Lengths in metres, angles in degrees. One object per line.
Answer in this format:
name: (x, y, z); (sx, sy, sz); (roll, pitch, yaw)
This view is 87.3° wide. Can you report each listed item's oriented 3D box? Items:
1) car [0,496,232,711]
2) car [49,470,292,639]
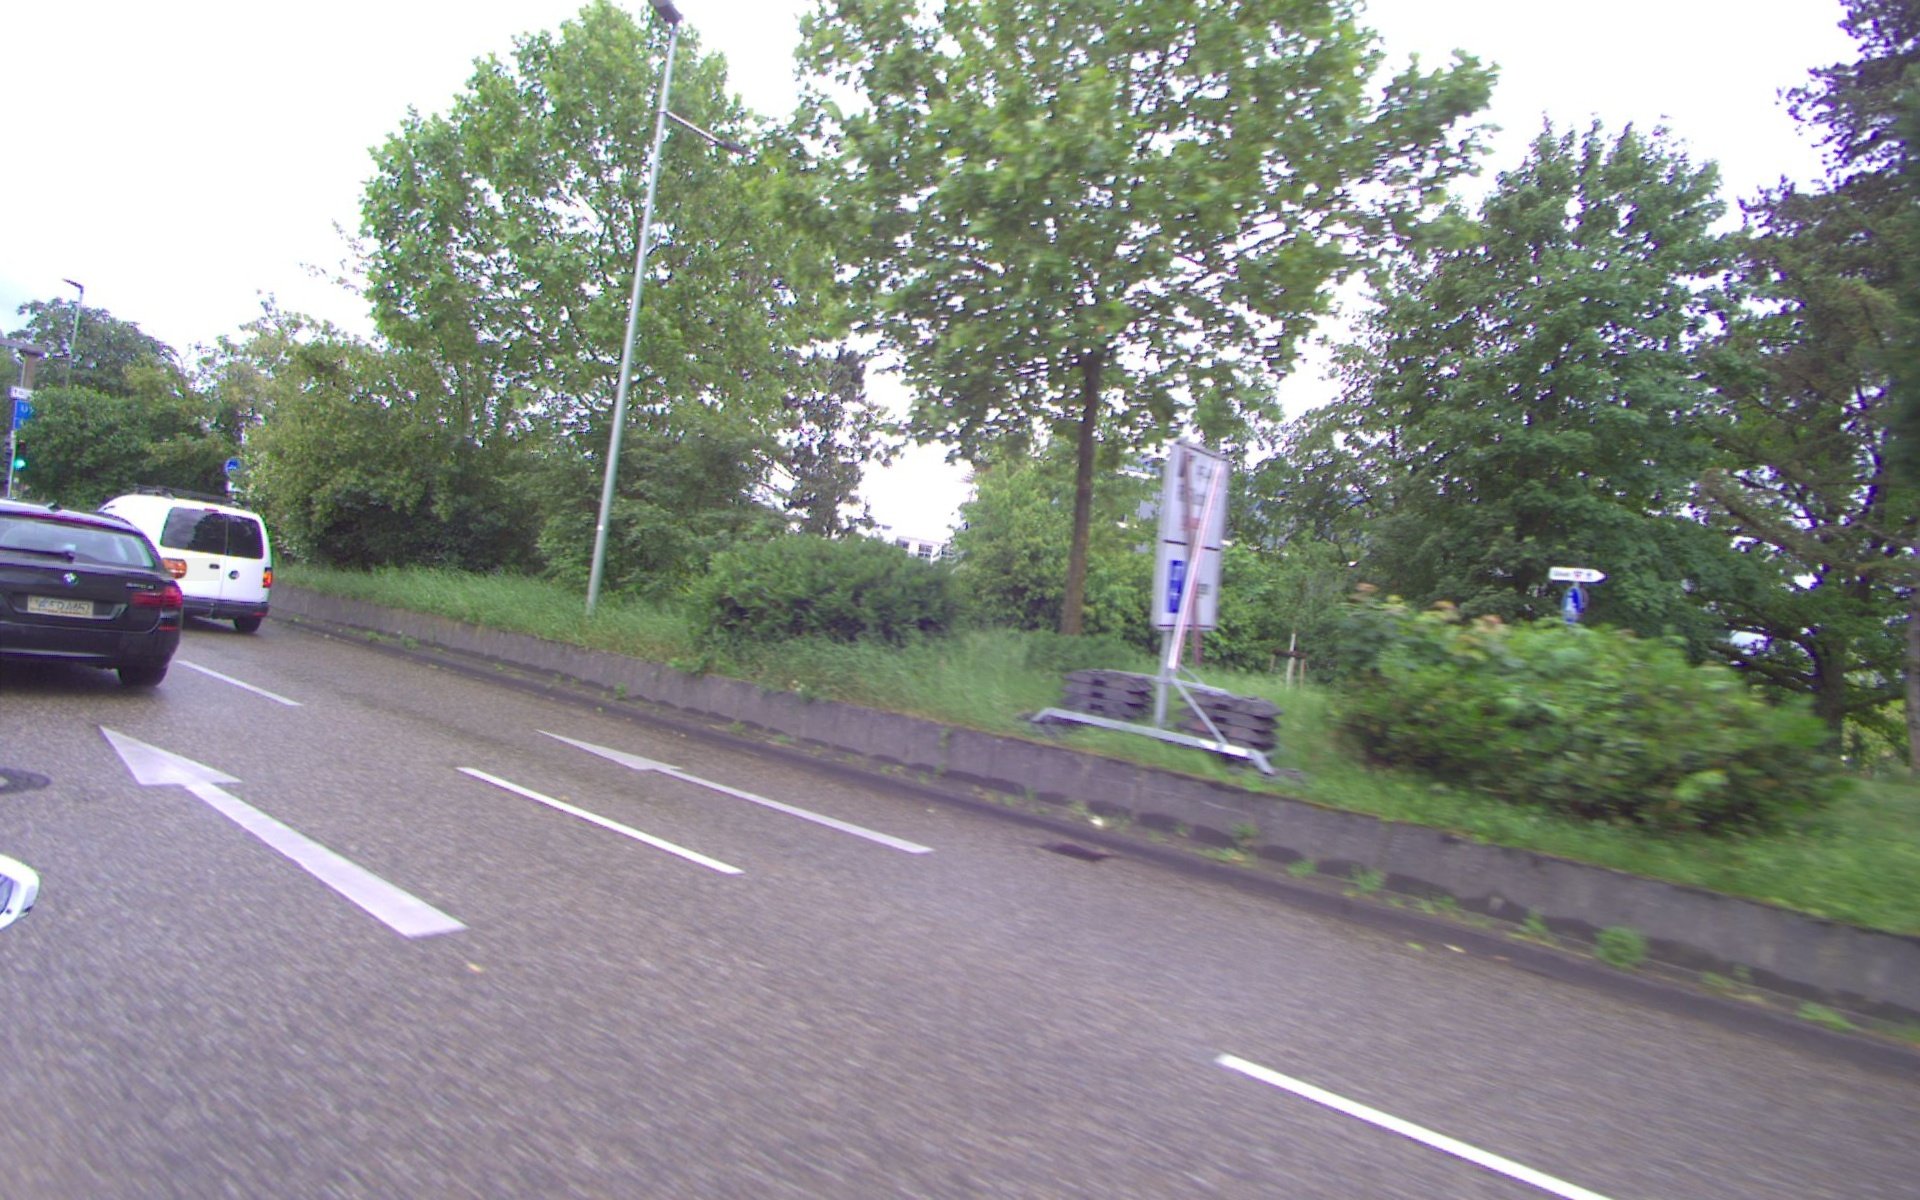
car: (-8.329, -0.146, 8.816); (3.938, 1.457, 1.902); (8, -3, 37)
car: (-11.878, -0.711, 15.080); (3.745, 1.900, 1.766); (10, 0, 36)
